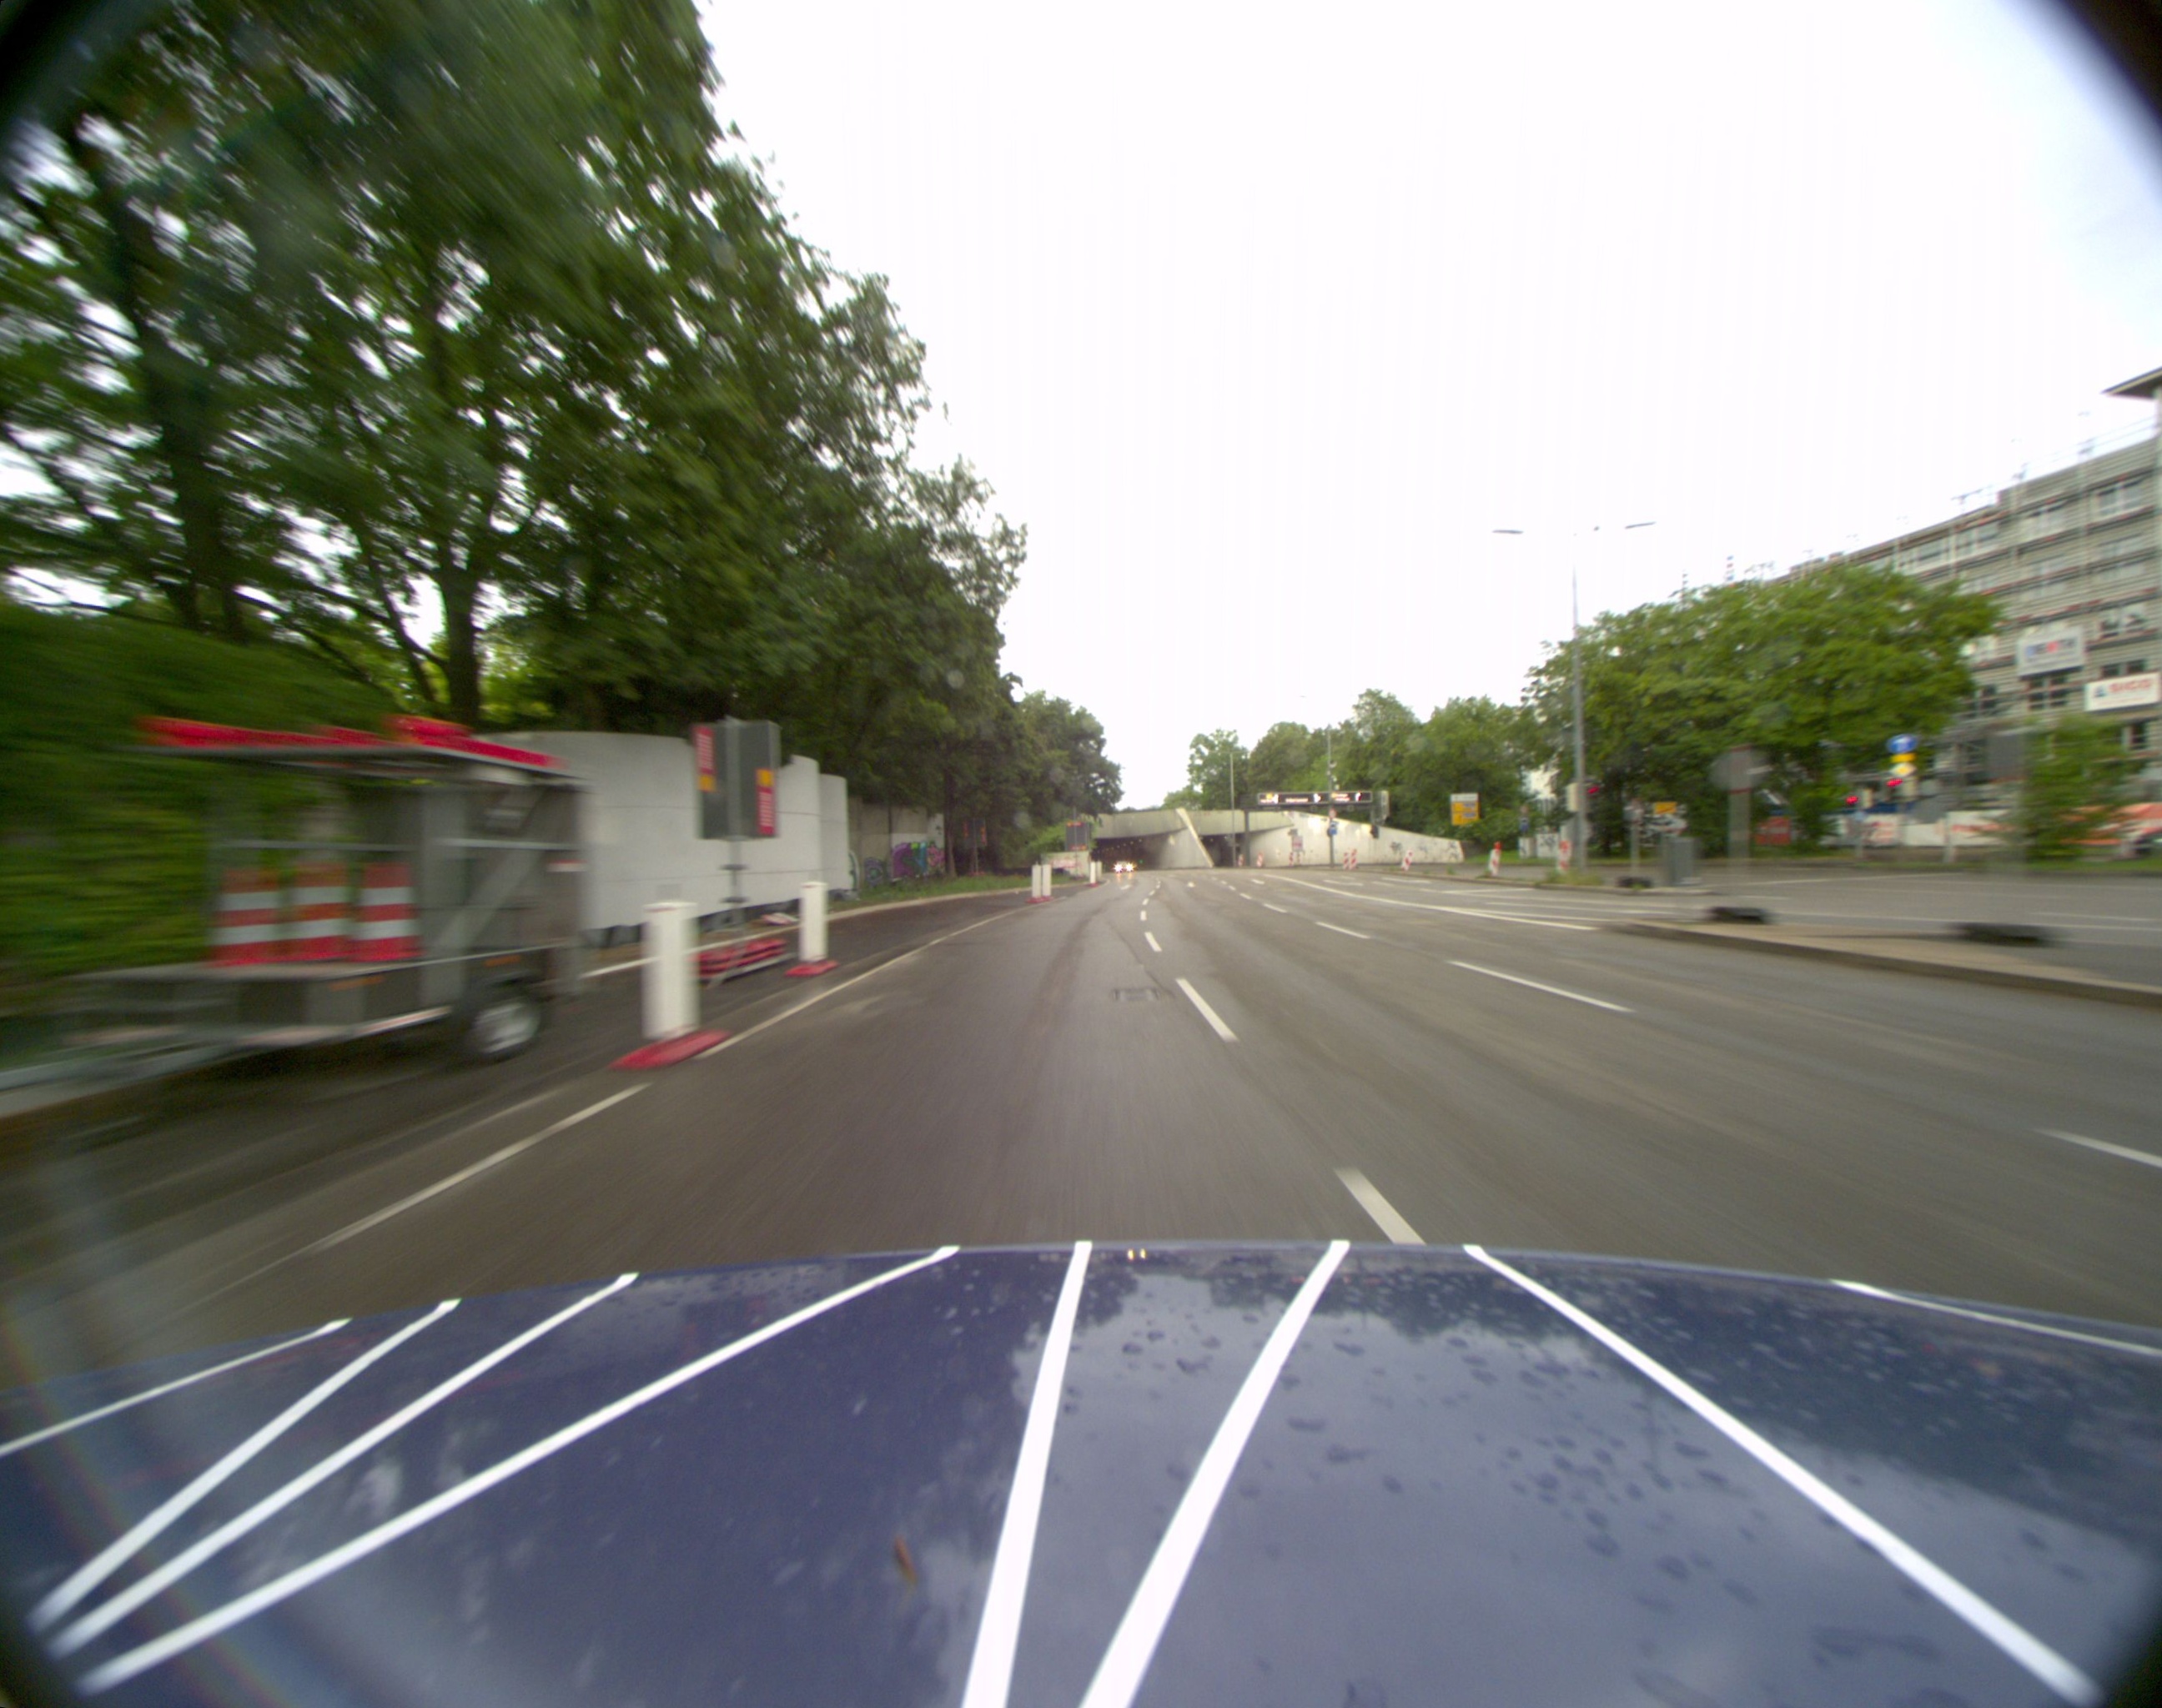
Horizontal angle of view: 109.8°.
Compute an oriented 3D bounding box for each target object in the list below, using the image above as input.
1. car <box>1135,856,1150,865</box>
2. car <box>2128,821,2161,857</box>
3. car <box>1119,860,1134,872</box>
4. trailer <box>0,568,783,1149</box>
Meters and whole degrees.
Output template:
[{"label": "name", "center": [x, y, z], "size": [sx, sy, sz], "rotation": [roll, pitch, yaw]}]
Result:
[{"label": "car", "center": [9.015, 0.945, 112.099], "size": [1.698, 1.300, 3.823], "rotation": [-1, 0, -4]}, {"label": "car", "center": [42.362, -0.666, 28.873], "size": [3.716, 1.282, 1.469], "rotation": [-4, 0, -9]}, {"label": "car", "center": [5.712, 1.537, 95.978], "size": [1.697, 1.393, 3.825], "rotation": [-1, 0, 2]}, {"label": "trailer", "center": [-5.609, 0.027, 7.731], "size": [2.312, 3.568, 5.961], "rotation": [0, 1, 5]}]
